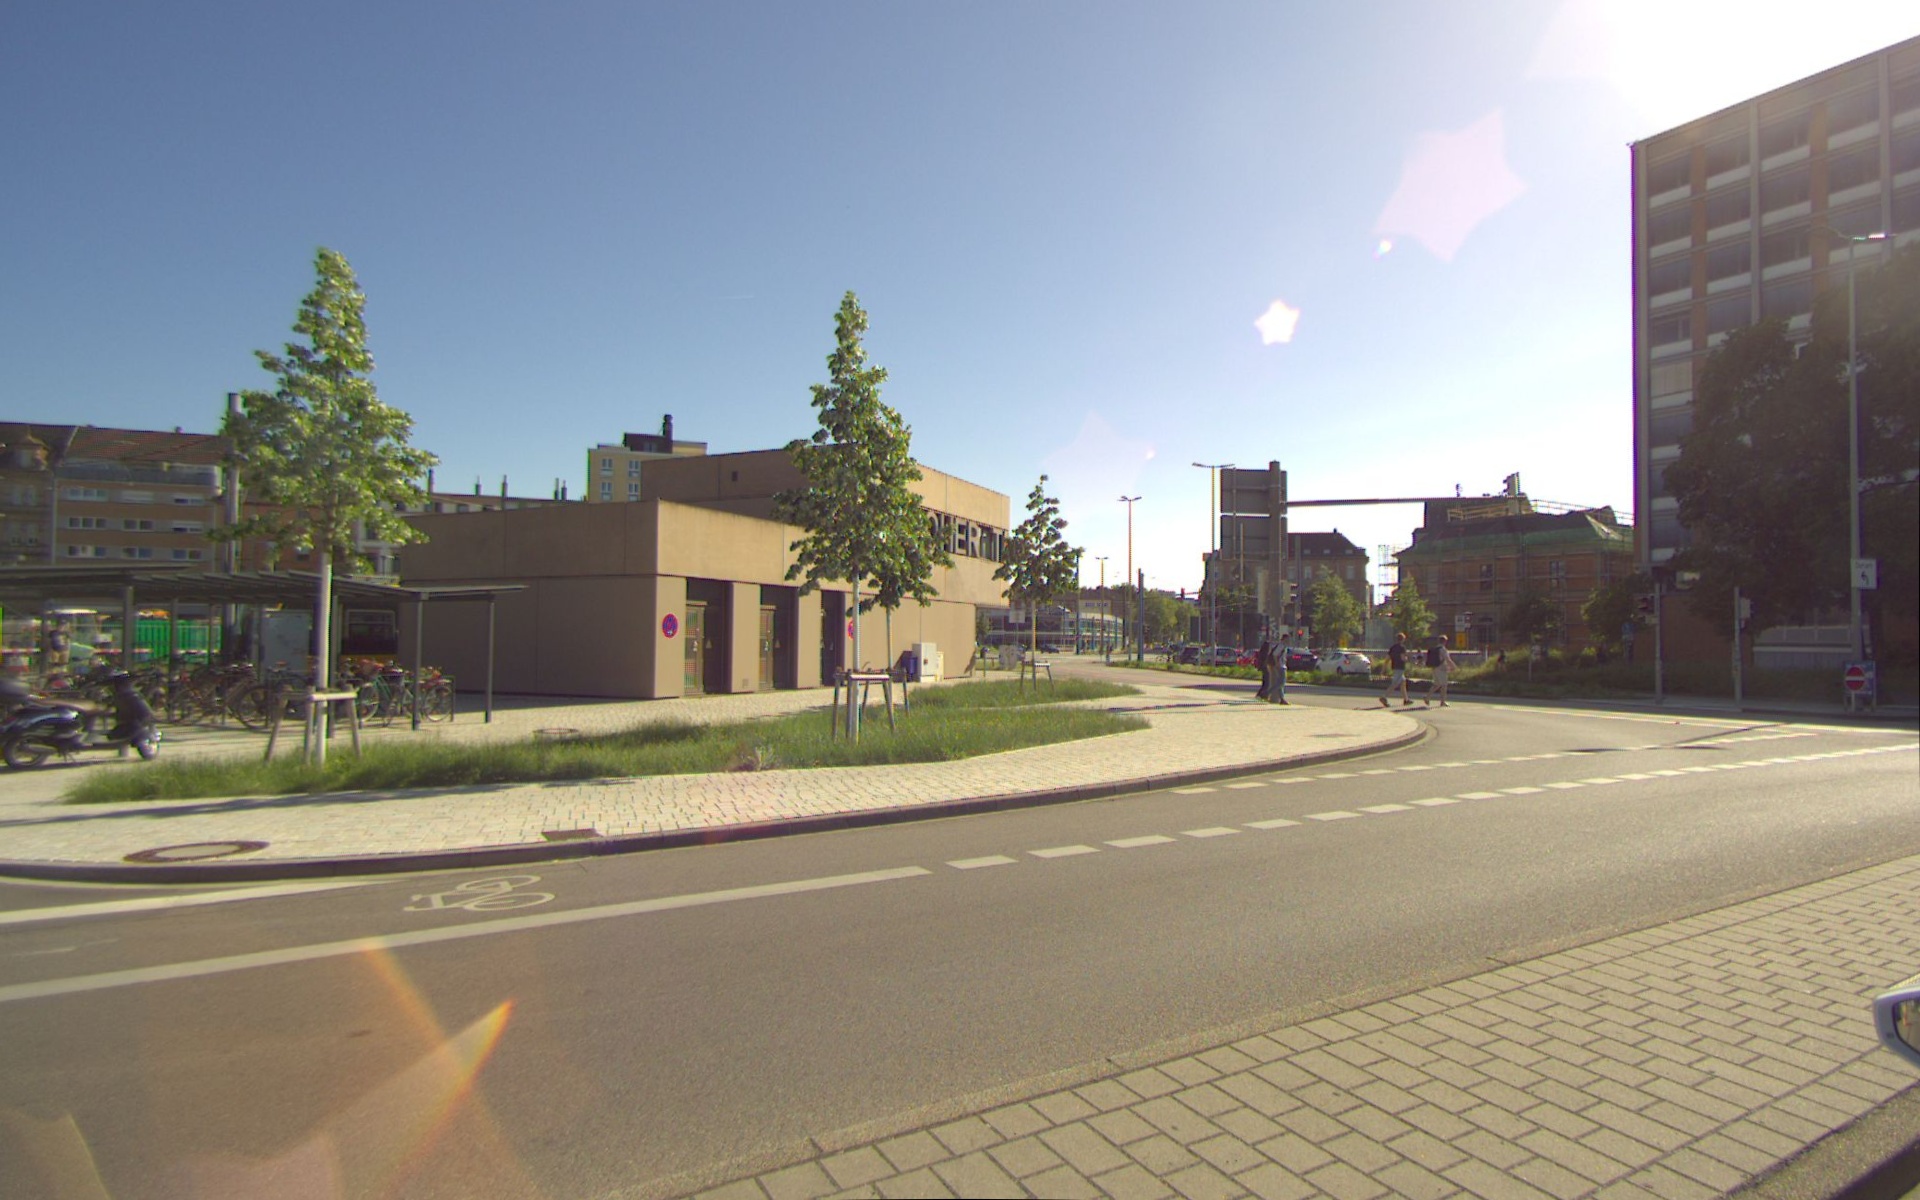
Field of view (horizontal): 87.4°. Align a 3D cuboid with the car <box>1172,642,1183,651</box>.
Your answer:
[{"bbox_3d":[40.729,8.744,188.309,1.959,1.684,4.003,0,-2,14],"label":"car"}]

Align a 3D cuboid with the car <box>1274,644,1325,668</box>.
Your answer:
[{"bbox_3d":[25.541,4.210,75.839,1.809,1.653,4.836,1,-2,-6],"label":"car"}]

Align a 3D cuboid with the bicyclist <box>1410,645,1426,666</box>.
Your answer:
[{"bbox_3d":[32.093,3.920,70.421,0.588,1.448,0.938,1,-2,-11],"label":"bicyclist"}]

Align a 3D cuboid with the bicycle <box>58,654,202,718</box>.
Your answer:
[{"bbox_3d":[-15.901,1.623,19.320,0.524,1.051,2.070,5,1,26],"label":"bicycle"}]

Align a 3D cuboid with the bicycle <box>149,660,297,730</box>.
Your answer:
[{"bbox_3d":[-12.897,1.629,17.657,0.524,1.051,2.070,2,0,26],"label":"bicycle"}]

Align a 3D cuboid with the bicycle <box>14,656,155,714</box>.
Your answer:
[{"bbox_3d":[-17.770,1.697,20.457,0.524,1.051,2.070,5,0,26],"label":"bicycle"}]

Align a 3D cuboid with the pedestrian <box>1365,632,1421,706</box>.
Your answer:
[{"bbox_3d":[10.988,1.758,25.511,1.085,1.822,0.703,3,-5,-17],"label":"pedestrian"}]

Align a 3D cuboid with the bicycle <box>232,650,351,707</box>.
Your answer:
[{"bbox_3d":[-13.916,1.615,20.993,0.524,1.051,2.070,2,0,26],"label":"bicycle"}]

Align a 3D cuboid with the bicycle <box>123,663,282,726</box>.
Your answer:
[{"bbox_3d":[-13.707,1.677,18.262,0.673,0.956,2.233,2,0,25],"label":"bicycle"}]

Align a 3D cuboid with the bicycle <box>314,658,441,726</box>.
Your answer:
[{"bbox_3d":[-10.796,1.683,18.699,0.594,1.093,2.053,2,0,25],"label":"bicycle"}]

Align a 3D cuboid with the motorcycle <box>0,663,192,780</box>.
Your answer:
[{"bbox_3d":[-10.847,1.447,12.477,0.558,1.235,2.087,0,-1,21],"label":"motorcycle"}]

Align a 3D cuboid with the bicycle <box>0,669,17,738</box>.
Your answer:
[{"bbox_3d":[-14.716,1.541,14.425,0.399,0.985,1.683,2,0,22],"label":"bicycle"}]

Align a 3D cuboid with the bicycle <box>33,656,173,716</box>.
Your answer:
[{"bbox_3d":[-16.882,1.677,19.849,0.524,1.051,2.070,-2,-2,26],"label":"bicycle"}]

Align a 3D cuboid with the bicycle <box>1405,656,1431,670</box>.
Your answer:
[{"bbox_3d":[32.093,4.413,70.407,0.587,0.976,2.080,1,-2,-8],"label":"bicycle"}]

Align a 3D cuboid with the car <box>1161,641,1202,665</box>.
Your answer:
[{"bbox_3d":[16.522,3.937,75.125,1.809,1.653,4.386,1,-2,-4],"label":"car"}]

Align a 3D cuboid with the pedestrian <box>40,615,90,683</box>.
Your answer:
[{"bbox_3d":[-26.199,1.418,29.404,0.755,1.942,0.803,0,-2,23],"label":"pedestrian"}]

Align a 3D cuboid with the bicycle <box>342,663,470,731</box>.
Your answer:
[{"bbox_3d":[-9.966,1.721,18.162,0.524,1.051,2.070,2,0,26],"label":"bicycle"}]

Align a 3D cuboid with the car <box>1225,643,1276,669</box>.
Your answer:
[{"bbox_3d":[20.040,3.838,69.434,1.810,1.653,4.382,1,-2,-8],"label":"car"}]

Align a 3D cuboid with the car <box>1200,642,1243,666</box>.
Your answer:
[{"bbox_3d":[19.619,4.032,75.506,1.809,1.653,4.386,1,-2,-4],"label":"car"}]

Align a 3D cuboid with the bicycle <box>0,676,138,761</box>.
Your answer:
[{"bbox_3d":[-12.201,1.574,13.578,0.399,0.985,1.683,2,0,22],"label":"bicycle"}]

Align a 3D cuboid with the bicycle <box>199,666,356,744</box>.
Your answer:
[{"bbox_3d":[-10.902,1.650,16.134,0.524,1.051,2.070,2,0,26],"label":"bicycle"}]

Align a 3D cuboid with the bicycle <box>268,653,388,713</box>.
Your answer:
[{"bbox_3d":[-12.741,1.647,20.328,0.524,1.051,2.070,2,0,26],"label":"bicycle"}]

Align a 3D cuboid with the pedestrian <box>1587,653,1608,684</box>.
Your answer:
[{"bbox_3d":[34.136,3.663,53.803,0.587,1.624,0.739,1,-2,-6],"label":"pedestrian"}]

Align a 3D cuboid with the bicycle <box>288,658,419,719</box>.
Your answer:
[{"bbox_3d":[-11.760,1.698,19.572,0.679,1.011,2.140,2,0,26],"label":"bicycle"}]

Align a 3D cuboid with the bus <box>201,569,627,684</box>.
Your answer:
[{"bbox_3d":[-17.252,0.968,33.922,2.810,3.112,13.620,0,-2,25],"label":"bus"}]

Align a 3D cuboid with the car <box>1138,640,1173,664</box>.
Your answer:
[{"bbox_3d":[16.630,4.375,85.693,1.810,1.651,4.387,10,-2,-2],"label":"car"}]

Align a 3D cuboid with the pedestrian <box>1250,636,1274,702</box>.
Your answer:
[{"bbox_3d":[8.130,1.853,27.016,0.585,1.751,0.580,0,-2,14],"label":"pedestrian"}]

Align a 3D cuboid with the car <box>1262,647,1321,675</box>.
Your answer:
[{"bbox_3d":[20.703,3.782,62.898,1.810,1.653,4.382,1,-2,-8],"label":"car"}]

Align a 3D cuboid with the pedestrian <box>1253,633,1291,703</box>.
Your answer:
[{"bbox_3d":[7.887,1.726,25.338,0.887,1.711,0.840,0,-5,19],"label":"pedestrian"}]

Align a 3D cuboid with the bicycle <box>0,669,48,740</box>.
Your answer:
[{"bbox_3d":[-14.199,1.526,14.376,0.399,0.985,1.683,2,0,22],"label":"bicycle"}]

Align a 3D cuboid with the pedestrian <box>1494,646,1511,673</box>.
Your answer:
[{"bbox_3d":[33.455,3.664,61.932,0.548,1.592,0.862,1,-2,-4],"label":"pedestrian"}]

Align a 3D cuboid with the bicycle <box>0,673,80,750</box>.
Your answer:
[{"bbox_3d":[-13.229,1.544,13.813,0.399,0.985,1.683,2,0,22],"label":"bicycle"}]

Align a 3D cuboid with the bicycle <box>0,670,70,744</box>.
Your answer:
[{"bbox_3d":[-13.694,1.531,14.174,0.399,0.985,1.683,2,0,22],"label":"bicycle"}]

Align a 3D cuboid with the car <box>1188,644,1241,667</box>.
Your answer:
[{"bbox_3d":[17.269,3.762,68.326,1.810,1.406,4.895,1,-2,-8],"label":"car"}]

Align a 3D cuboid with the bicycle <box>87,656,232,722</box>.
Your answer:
[{"bbox_3d":[-15.015,1.640,18.906,0.524,1.051,2.070,5,1,26],"label":"bicycle"}]

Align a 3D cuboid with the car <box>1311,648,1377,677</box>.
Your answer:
[{"bbox_3d":[21.310,3.462,55.937,1.711,1.454,3.843,1,-2,-10],"label":"car"}]

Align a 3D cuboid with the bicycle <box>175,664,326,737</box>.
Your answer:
[{"bbox_3d":[-11.917,1.656,16.952,0.524,1.051,2.070,2,0,26],"label":"bicycle"}]

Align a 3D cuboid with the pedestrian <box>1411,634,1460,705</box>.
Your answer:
[{"bbox_3d":[11.825,1.728,24.998,0.775,1.711,0.793,2,-5,-13],"label":"pedestrian"}]
